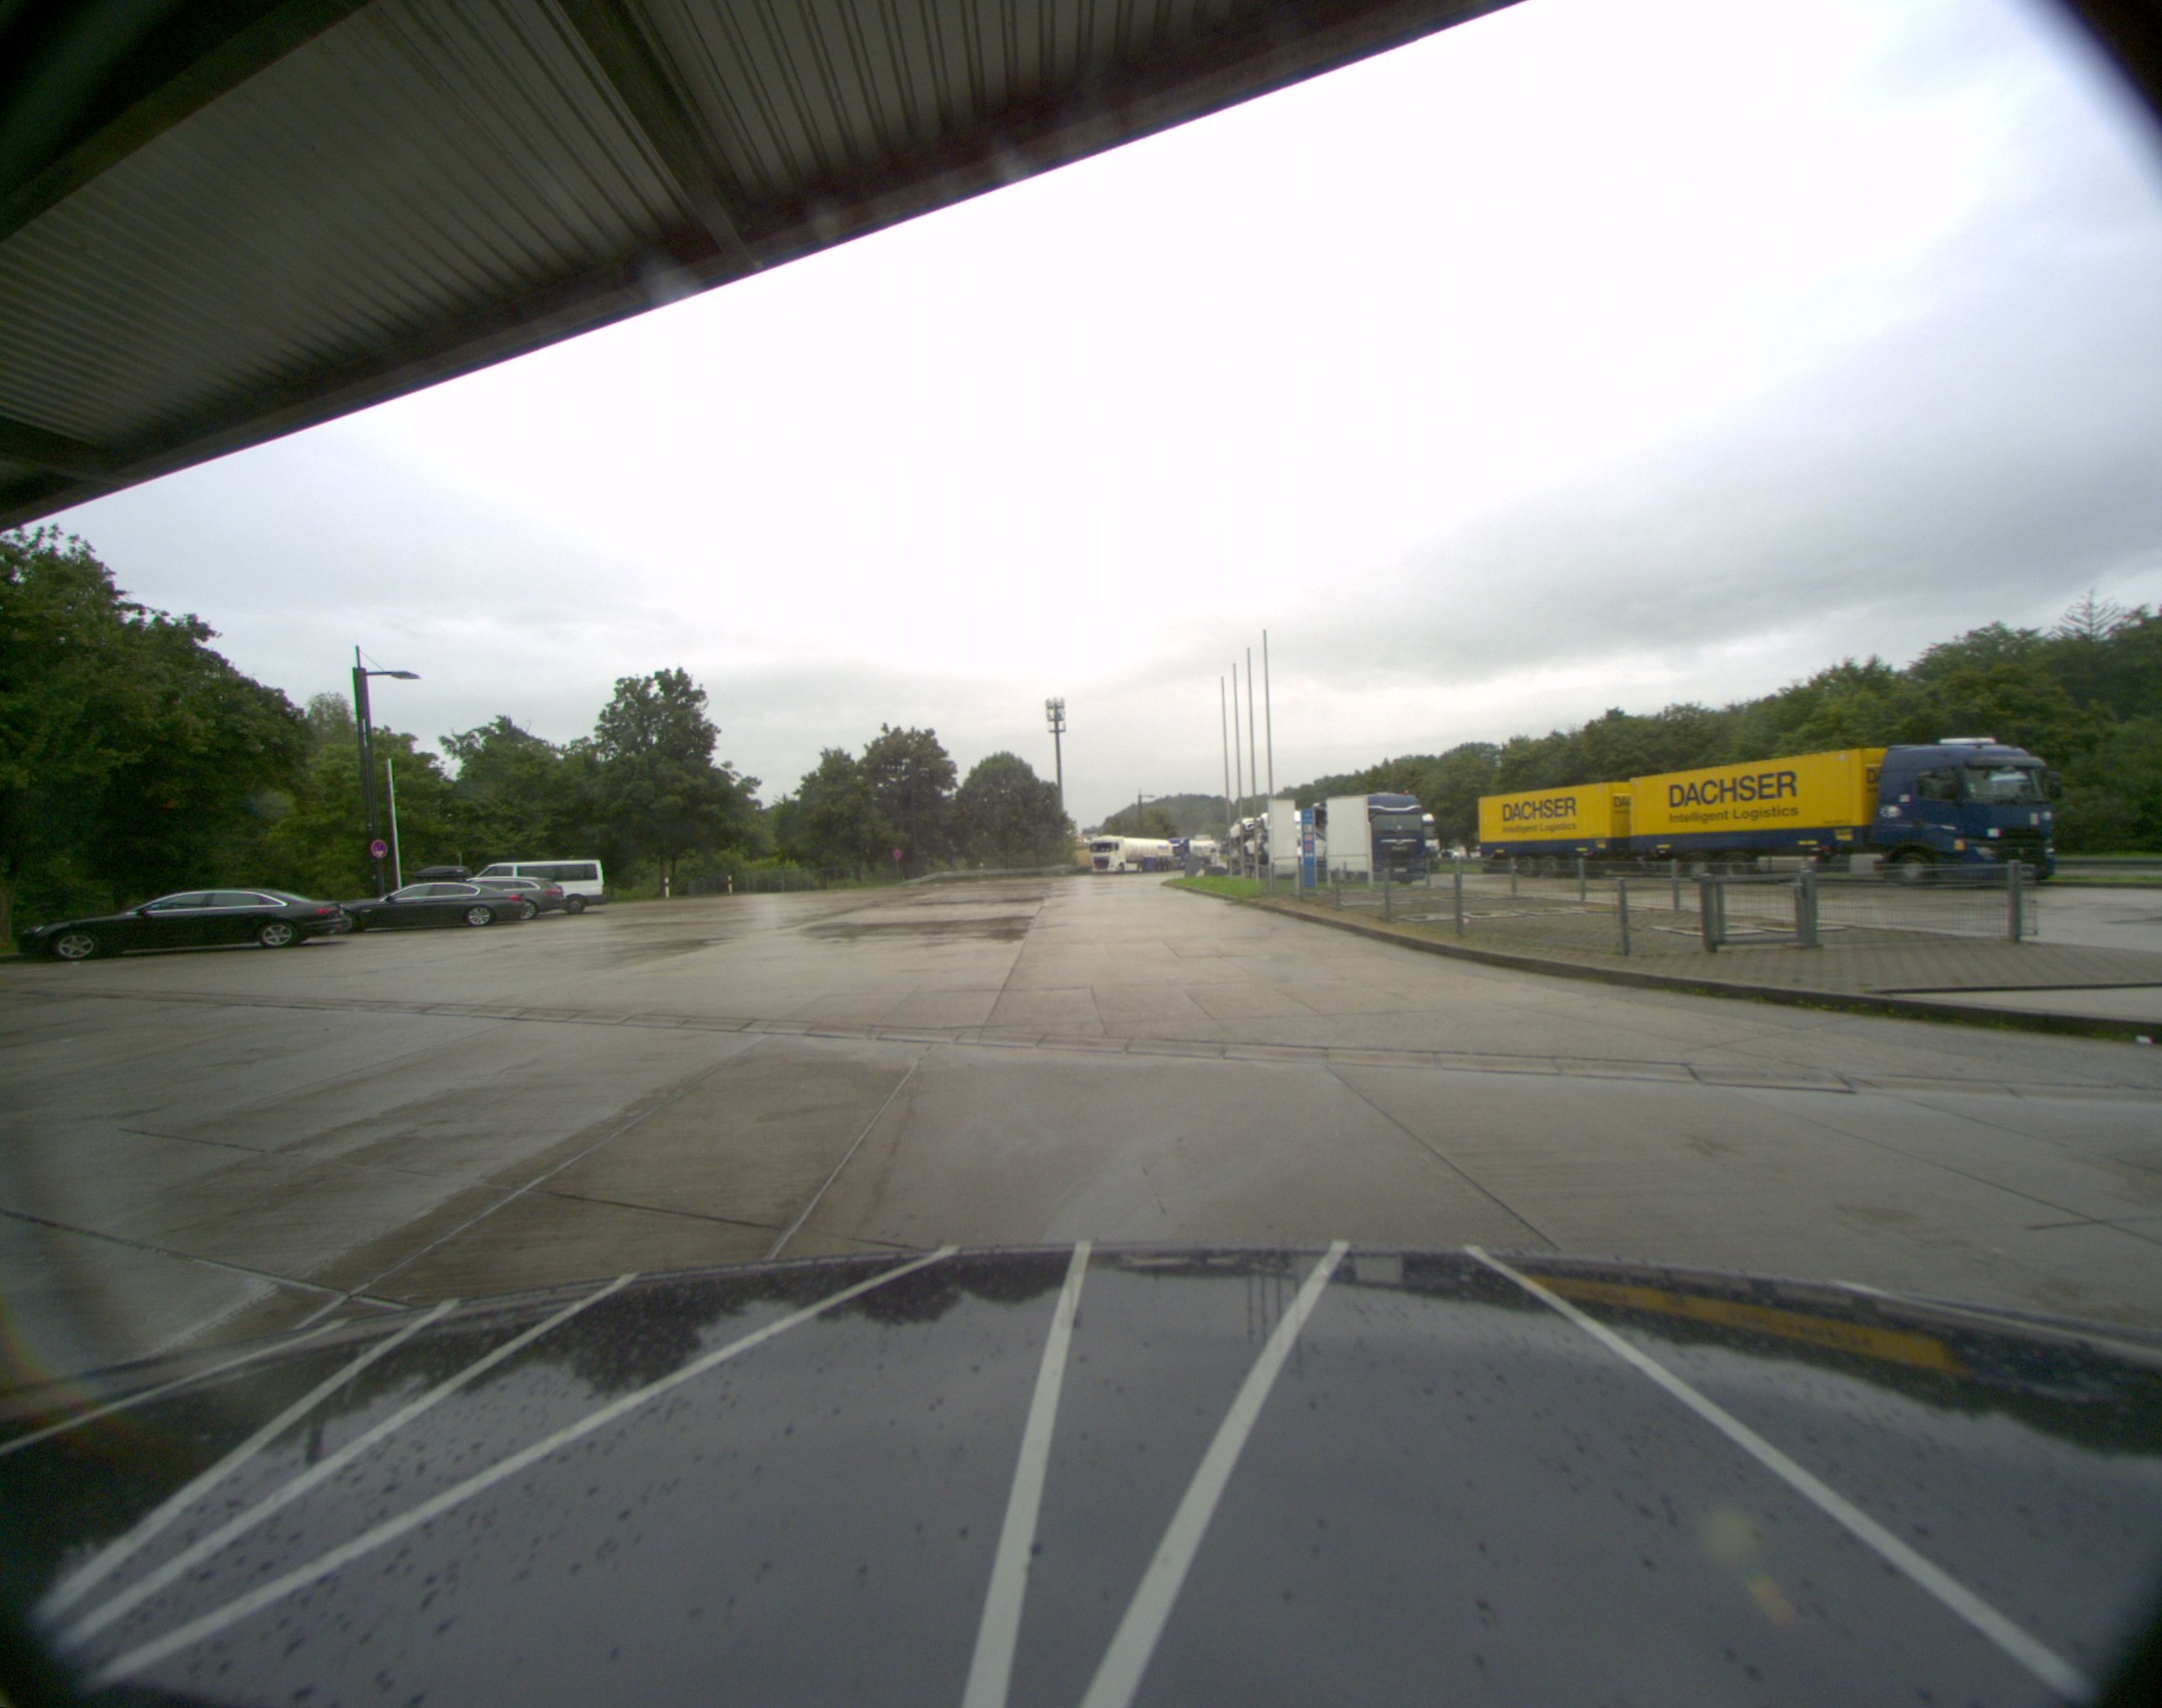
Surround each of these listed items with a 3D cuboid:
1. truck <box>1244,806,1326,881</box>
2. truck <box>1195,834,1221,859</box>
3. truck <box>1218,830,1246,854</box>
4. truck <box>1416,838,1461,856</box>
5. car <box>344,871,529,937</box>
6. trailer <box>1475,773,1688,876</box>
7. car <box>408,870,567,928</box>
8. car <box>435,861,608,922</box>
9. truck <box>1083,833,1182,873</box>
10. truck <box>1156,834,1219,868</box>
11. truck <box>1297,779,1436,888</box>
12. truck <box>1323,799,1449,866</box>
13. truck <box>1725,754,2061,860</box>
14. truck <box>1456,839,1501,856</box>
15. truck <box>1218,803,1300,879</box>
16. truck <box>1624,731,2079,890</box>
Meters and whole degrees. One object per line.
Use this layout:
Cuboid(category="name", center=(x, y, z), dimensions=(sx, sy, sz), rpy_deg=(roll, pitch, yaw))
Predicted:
Cuboid(category="truck", center=(11.044, -0.559, 41.593), dimensions=(2.665, 3.750, 4.747), rpy_deg=(-2, 1, -6))
Cuboid(category="truck", center=(22.793, -1.407, 136.882), dimensions=(3.143, 4.105, 11.523), rpy_deg=(-2, 1, 3))
Cuboid(category="truck", center=(33.703, -2.698, 170.111), dimensions=(3.145, 5.092, 11.515), rpy_deg=(-2, 1, -5))
Cuboid(category="truck", center=(45.300, -0.884, 96.493), dimensions=(2.082, 2.112, 5.827), rpy_deg=(-2, 1, -10))
Cuboid(category="car", center=(-18.878, 1.395, 22.511), dimensions=(4.007, 1.650, 1.596), rpy_deg=(-2, 0, -35))
Cuboid(category="trailer", center=(21.789, -1.186, 33.954), dimensions=(2.757, 3.894, 8.700), rpy_deg=(-2, 1, -9))
Cuboid(category="car", center=(-19.473, 1.428, 25.163), dimensions=(4.007, 1.650, 1.596), rpy_deg=(-2, 0, -35))
Cuboid(category="car", center=(-20.429, 1.289, 28.000), dimensions=(4.898, 1.938, 2.310), rpy_deg=(-2, 0, -35))
Cuboid(category="truck", center=(5.450, -0.163, 75.214), dimensions=(3.505, 3.584, 14.426), rpy_deg=(-2, 0, 31))
Cuboid(category="truck", center=(12.777, -0.406, 89.695), dimensions=(3.506, 3.584, 14.685), rpy_deg=(-2, 0, 23))
Cuboid(category="truck", center=(12.181, -0.797, 33.186), dimensions=(2.665, 4.157, 7.103), rpy_deg=(-2, 0, -6))
Cuboid(category="truck", center=(19.880, -1.301, 50.574), dimensions=(2.757, 3.894, 10.678), rpy_deg=(-2, 1, -8))
Cuboid(category="truck", center=(33.908, -1.762, 32.719), dimensions=(2.421, 3.785, 10.223), rpy_deg=(-2, 1, -10))
Cuboid(category="truck", center=(52.195, -0.893, 100.016), dimensions=(2.082, 2.112, 5.827), rpy_deg=(-2, 1, -10))
Cuboid(category="truck", center=(10.568, -0.728, 45.784), dimensions=(2.665, 4.157, 6.618), rpy_deg=(-2, 1, -6))
Cuboid(category="truck", center=(23.152, -1.129, 24.333), dimensions=(2.757, 3.894, 10.678), rpy_deg=(-2, 1, -8))
